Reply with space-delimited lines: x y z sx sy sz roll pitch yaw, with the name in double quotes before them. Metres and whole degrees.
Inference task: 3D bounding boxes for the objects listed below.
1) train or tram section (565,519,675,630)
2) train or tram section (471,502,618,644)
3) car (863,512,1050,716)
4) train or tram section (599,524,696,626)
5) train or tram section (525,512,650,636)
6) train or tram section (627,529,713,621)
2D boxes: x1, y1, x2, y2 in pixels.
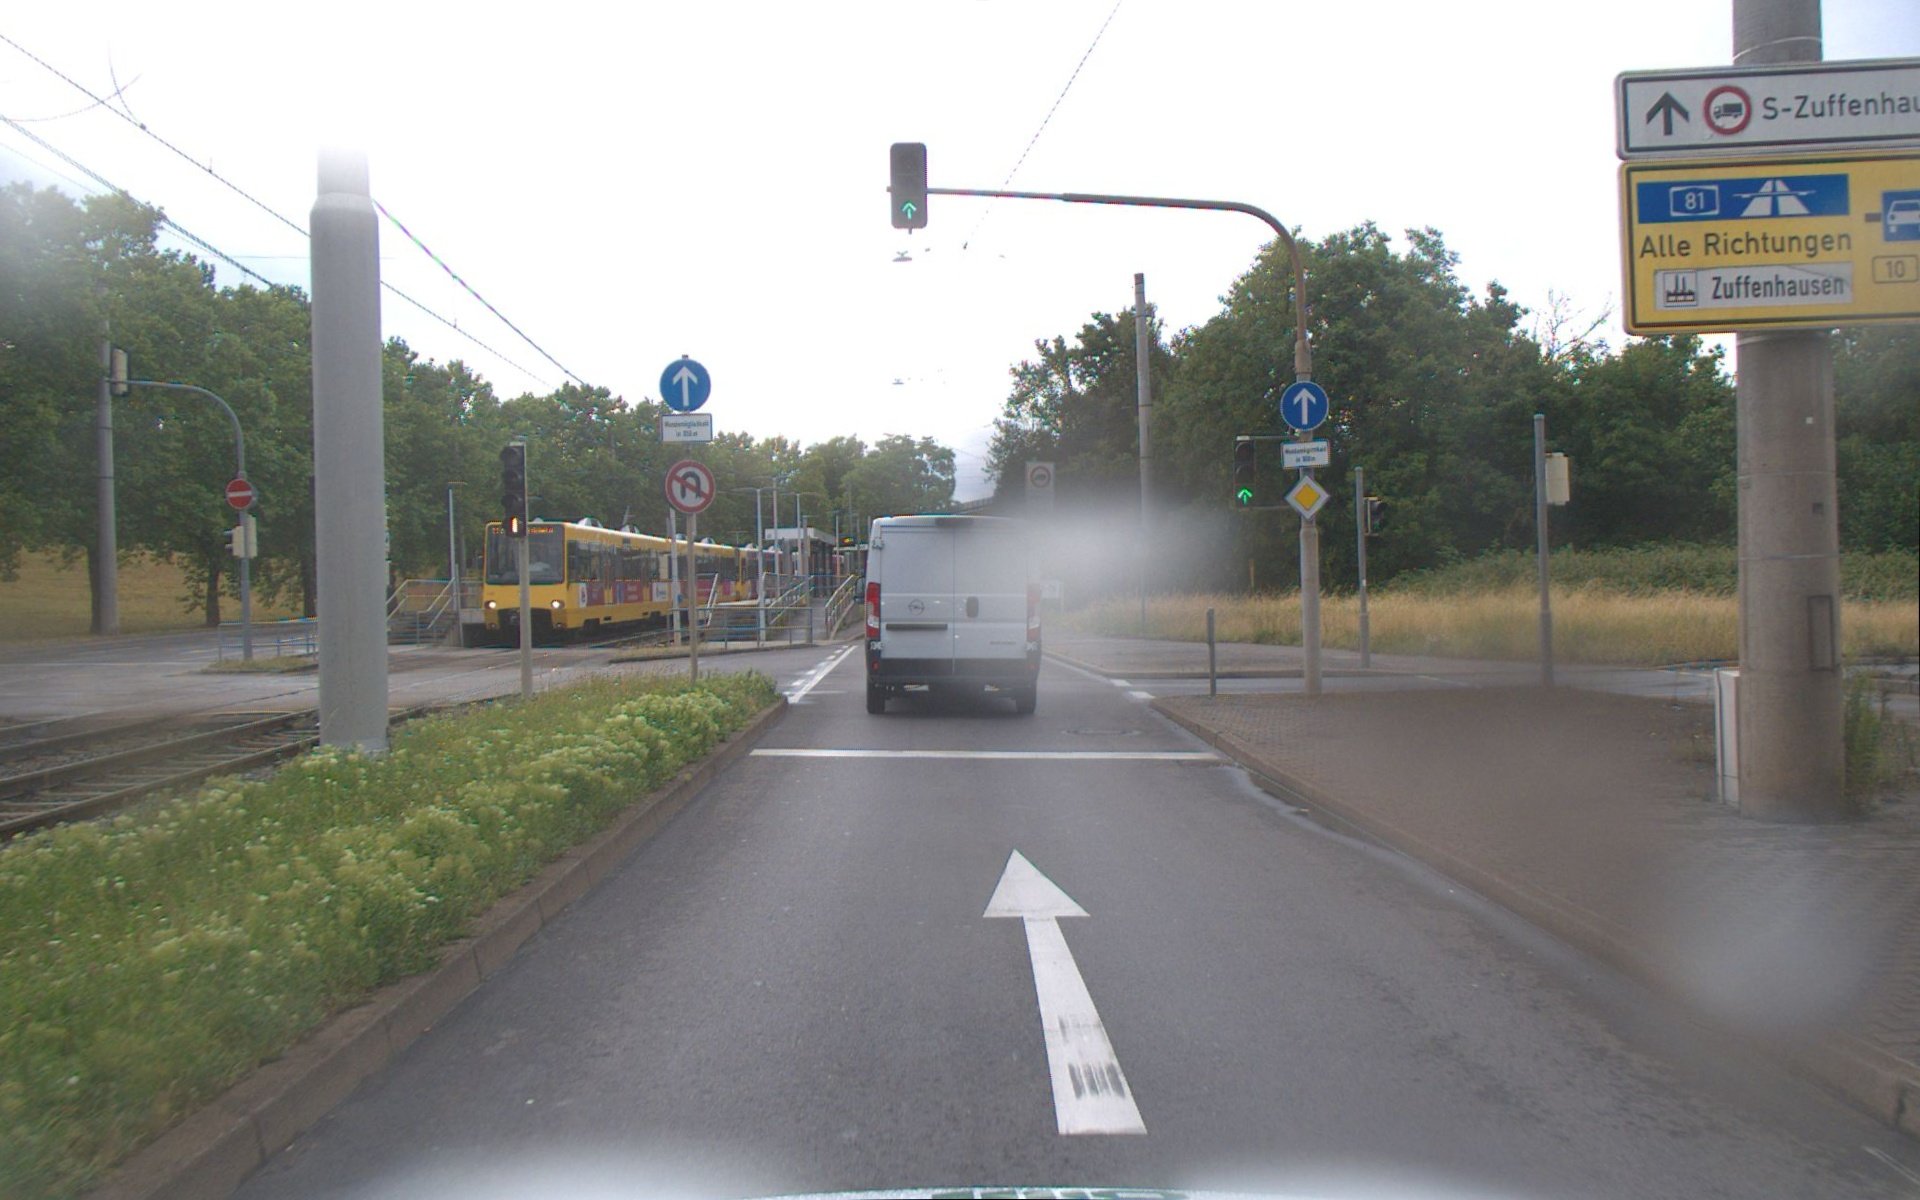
"train or tram section" -12.877 -0.962 63.225 2.869 4.001 7.003 1 1 -2
"train or tram section" -12.547 -0.801 50.581 2.869 4.001 7.003 1 1 -2
"car" -0.179 0.135 20.748 2.049 2.235 5.058 0 0 -3
"train or tram section" -13.049 -1.043 69.579 2.869 4.001 7.003 1 1 -2
"train or tram section" -12.703 -0.882 56.983 2.869 4.001 7.003 1 1 -2
"train or tram section" -13.227 -1.124 75.928 2.869 4.001 7.003 1 1 -2
